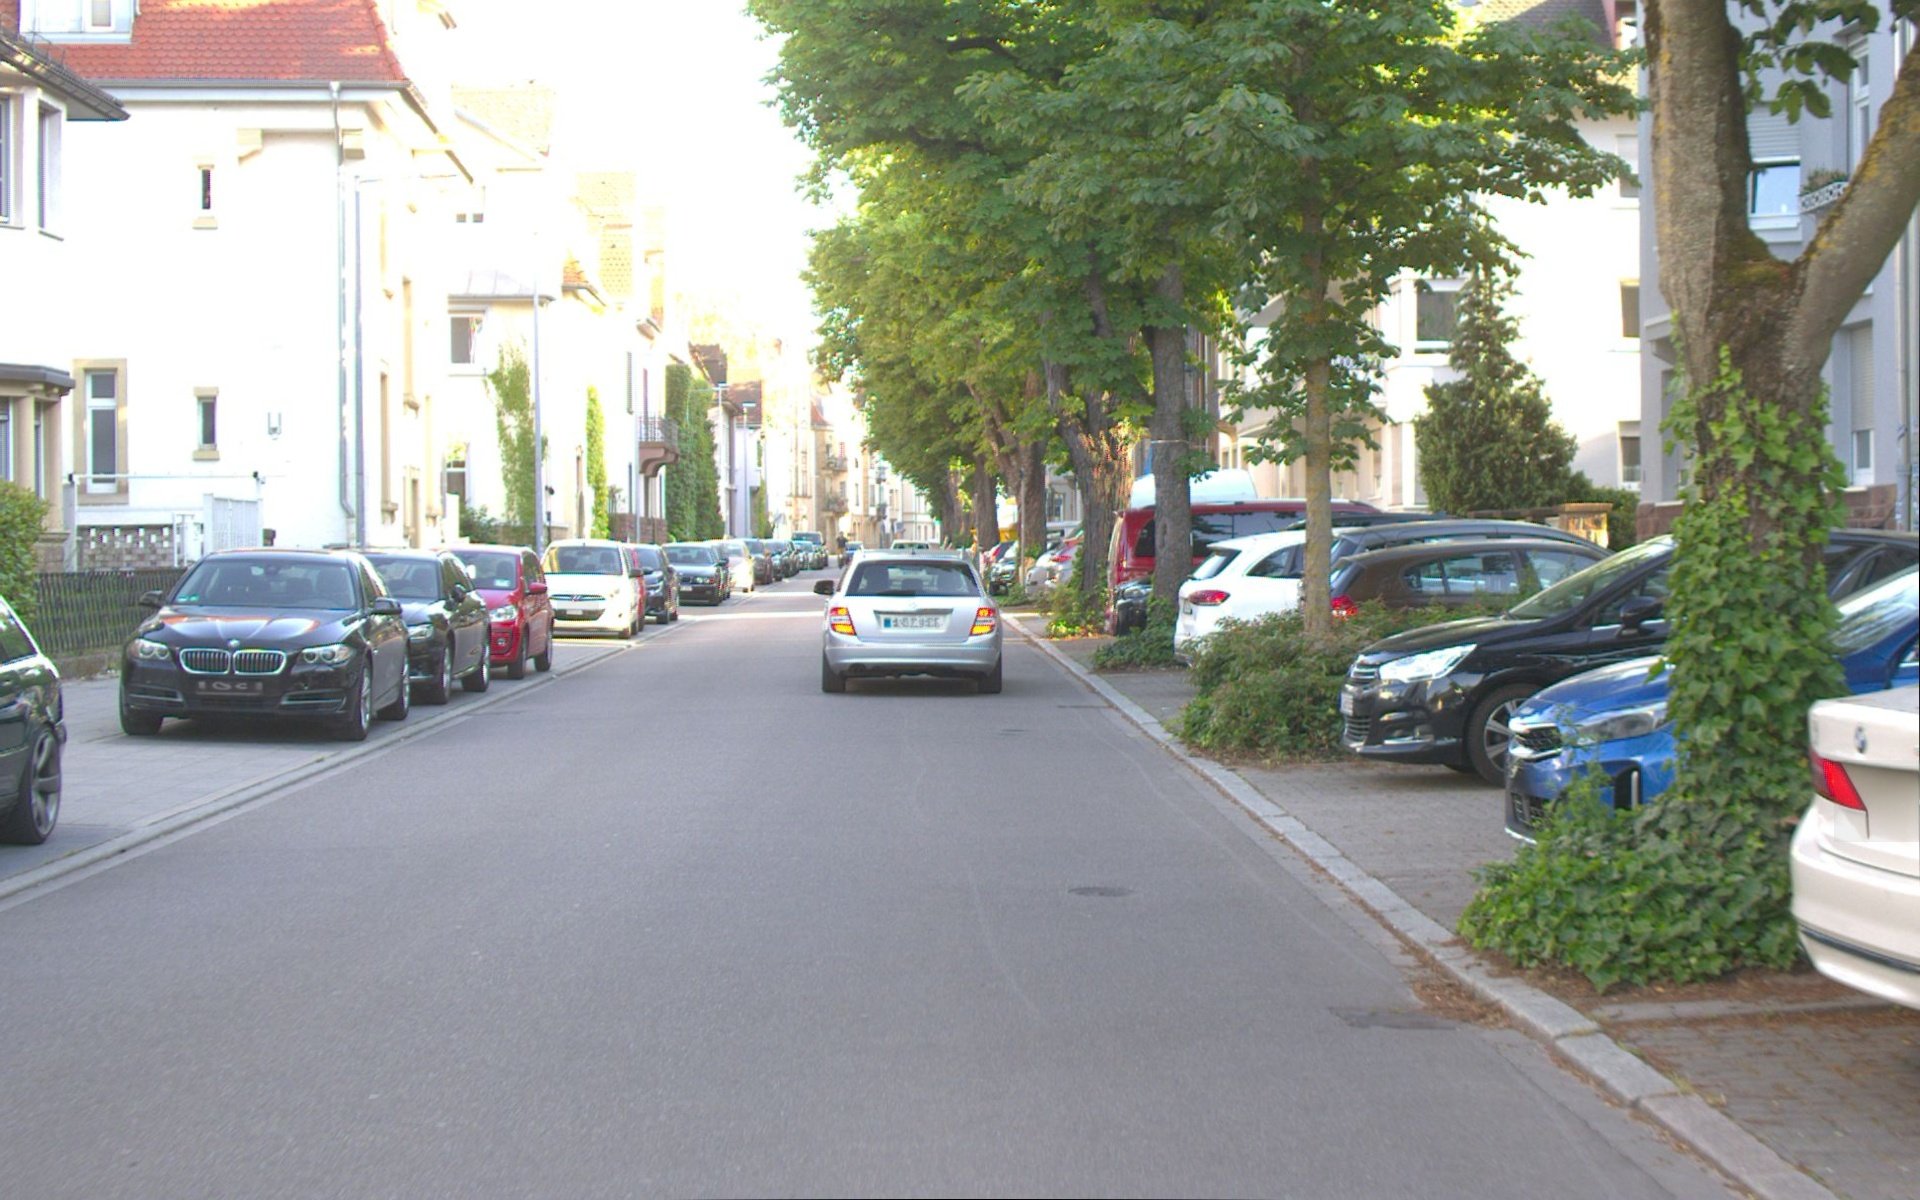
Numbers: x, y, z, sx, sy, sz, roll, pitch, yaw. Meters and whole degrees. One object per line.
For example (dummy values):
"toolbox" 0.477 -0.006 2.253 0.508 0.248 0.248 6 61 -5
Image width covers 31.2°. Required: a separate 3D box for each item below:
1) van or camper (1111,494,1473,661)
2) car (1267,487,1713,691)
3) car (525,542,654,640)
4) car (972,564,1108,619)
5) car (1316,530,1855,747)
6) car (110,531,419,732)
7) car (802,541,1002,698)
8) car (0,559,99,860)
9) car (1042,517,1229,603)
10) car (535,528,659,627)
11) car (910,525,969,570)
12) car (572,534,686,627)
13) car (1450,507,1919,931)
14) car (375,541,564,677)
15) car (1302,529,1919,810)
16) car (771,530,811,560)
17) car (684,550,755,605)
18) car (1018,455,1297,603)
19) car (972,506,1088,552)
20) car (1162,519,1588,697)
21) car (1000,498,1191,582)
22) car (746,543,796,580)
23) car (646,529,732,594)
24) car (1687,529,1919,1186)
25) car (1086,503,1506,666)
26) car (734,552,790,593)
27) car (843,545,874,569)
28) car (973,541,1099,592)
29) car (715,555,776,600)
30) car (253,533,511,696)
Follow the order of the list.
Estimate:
"van or camper" 4.024 -0.291 42.259 4.313 2.007 2.000 0 1 2
"car" 4.551 -0.109 29.853 3.547 1.648 1.725 -1 1 -2
"car" -5.811 -0.167 54.310 1.659 1.494 3.754 0 1 0
"car" 2.266 -0.260 98.501 3.844 1.477 1.805 -1 2 0
"car" 4.852 0.278 27.045 3.925 1.553 1.725 -1 2 1
"car" -5.557 0.202 28.001 1.854 1.492 4.656 0 1 -4
"car" -0.524 0.165 34.687 1.817 1.468 4.216 -1 0 2
"car" -5.495 0.535 16.409 1.758 1.442 4.142 0 1 0
"car" 3.504 -0.812 69.033 3.594 1.654 1.650 -1 1 -3
"car" -6.211 -0.379 59.178 1.799 1.639 3.857 0 0 -1
"car" -0.660 -1.764 115.726 1.817 1.468 4.216 -1 0 2
"car" -6.121 -0.387 63.942 1.799 1.638 3.857 0 2 -1
"car" 4.496 0.419 14.504 4.526 1.635 1.874 -1 1 -2
"car" -5.580 0.066 39.499 1.659 1.483 3.754 0 1 0
"car" 4.305 0.378 20.924 4.190 1.553 1.874 -1 1 -2
"car" -8.024 -2.624 163.256 1.799 1.382 3.606 0 2 -1
"car" -6.842 -0.652 98.169 1.799 1.477 3.857 0 2 -1
"car" 4.090 -1.499 71.964 5.541 2.958 2.472 -1 1 -3
"car" 2.339 -2.384 115.644 3.844 1.477 1.805 -1 2 0
"car" 3.857 0.053 32.339 3.730 1.553 1.725 -1 1 -2
"car" 3.325 -1.497 85.056 4.518 2.007 2.251 -1 2 -2
"car" -7.316 -1.493 133.236 1.799 1.382 3.606 0 2 -1
"car" -6.417 -0.935 81.641 1.799 1.477 3.857 0 2 -1
"car" 4.421 0.535 9.069 4.476 1.520 1.954 -2 2 -6
"car" 3.823 -0.195 39.729 4.625 1.830 1.954 0 1 -1
"car" -6.987 -0.981 121.493 1.799 1.382 3.606 0 2 -1
"car" -6.064 -2.582 205.716 1.799 1.382 3.606 0 2 -1
"car" 2.349 -1.044 106.653 3.844 1.477 1.805 -1 2 0
"car" -6.990 -0.748 112.267 1.799 1.382 3.606 0 2 -1
"car" -5.606 0.096 33.890 1.783 1.492 4.700 0 1 0
